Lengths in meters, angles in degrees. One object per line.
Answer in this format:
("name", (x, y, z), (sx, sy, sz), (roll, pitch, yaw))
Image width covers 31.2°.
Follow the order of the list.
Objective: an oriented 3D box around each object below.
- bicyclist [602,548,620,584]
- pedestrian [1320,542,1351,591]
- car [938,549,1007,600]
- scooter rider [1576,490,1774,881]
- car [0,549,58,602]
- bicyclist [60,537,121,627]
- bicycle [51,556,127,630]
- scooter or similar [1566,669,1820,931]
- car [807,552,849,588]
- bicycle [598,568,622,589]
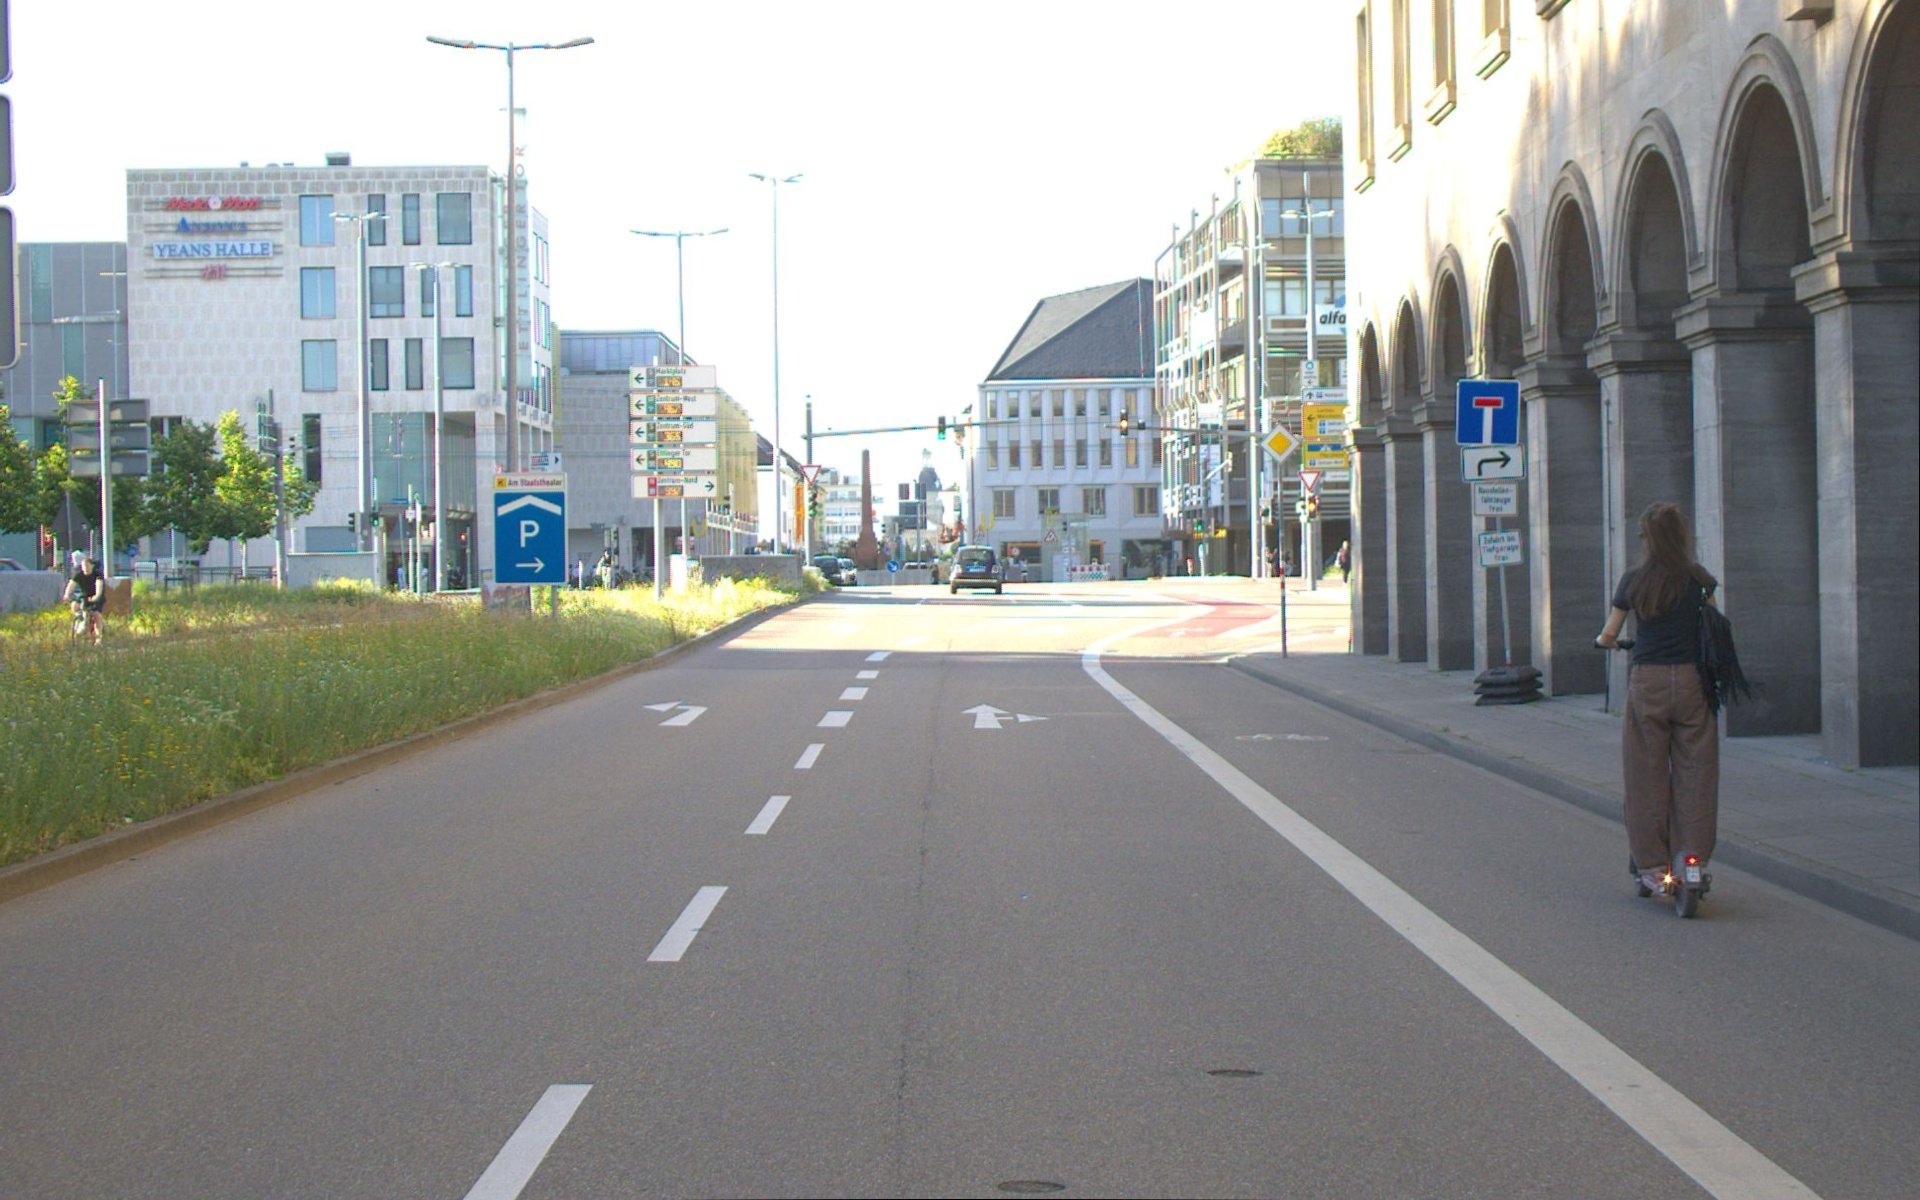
("bicyclist", (-14.529, -1.411, 143.048), (0.607, 1.484, 0.681), (0, 1, 6))
("pedestrian", (13.673, -1.227, 125.231), (0.822, 1.742, 1.040), (-2, 0, 22))
("car", (0.386, -0.802, 108.227), (1.775, 1.558, 3.790), (-1, 1, -6))
("scooter rider", (3.058, 0.351, 14.726), (0.561, 1.626, 0.650), (-1, 0, -18))
("car", (-34.508, -0.830, 121.965), (4.638, 1.804, 1.872), (-1, -1, -7))
("bicyclist", (-15.698, -0.320, 62.079), (0.747, 1.585, 1.202), (-1, -1, 1))
("bicycle", (-15.703, -0.114, 62.051), (0.758, 1.271, 2.258), (-1, -1, 1))
("scooter or similar", (3.096, 0.826, 14.604), (0.555, 1.028, 1.118), (-1, 1, -18))
("car", (-6.845, -1.582, 178.552), (1.993, 1.736, 4.646), (0, 2, 0))
("bicycle", (-14.537, -0.899, 142.977), (0.612, 0.858, 1.950), (0, 1, 6))
